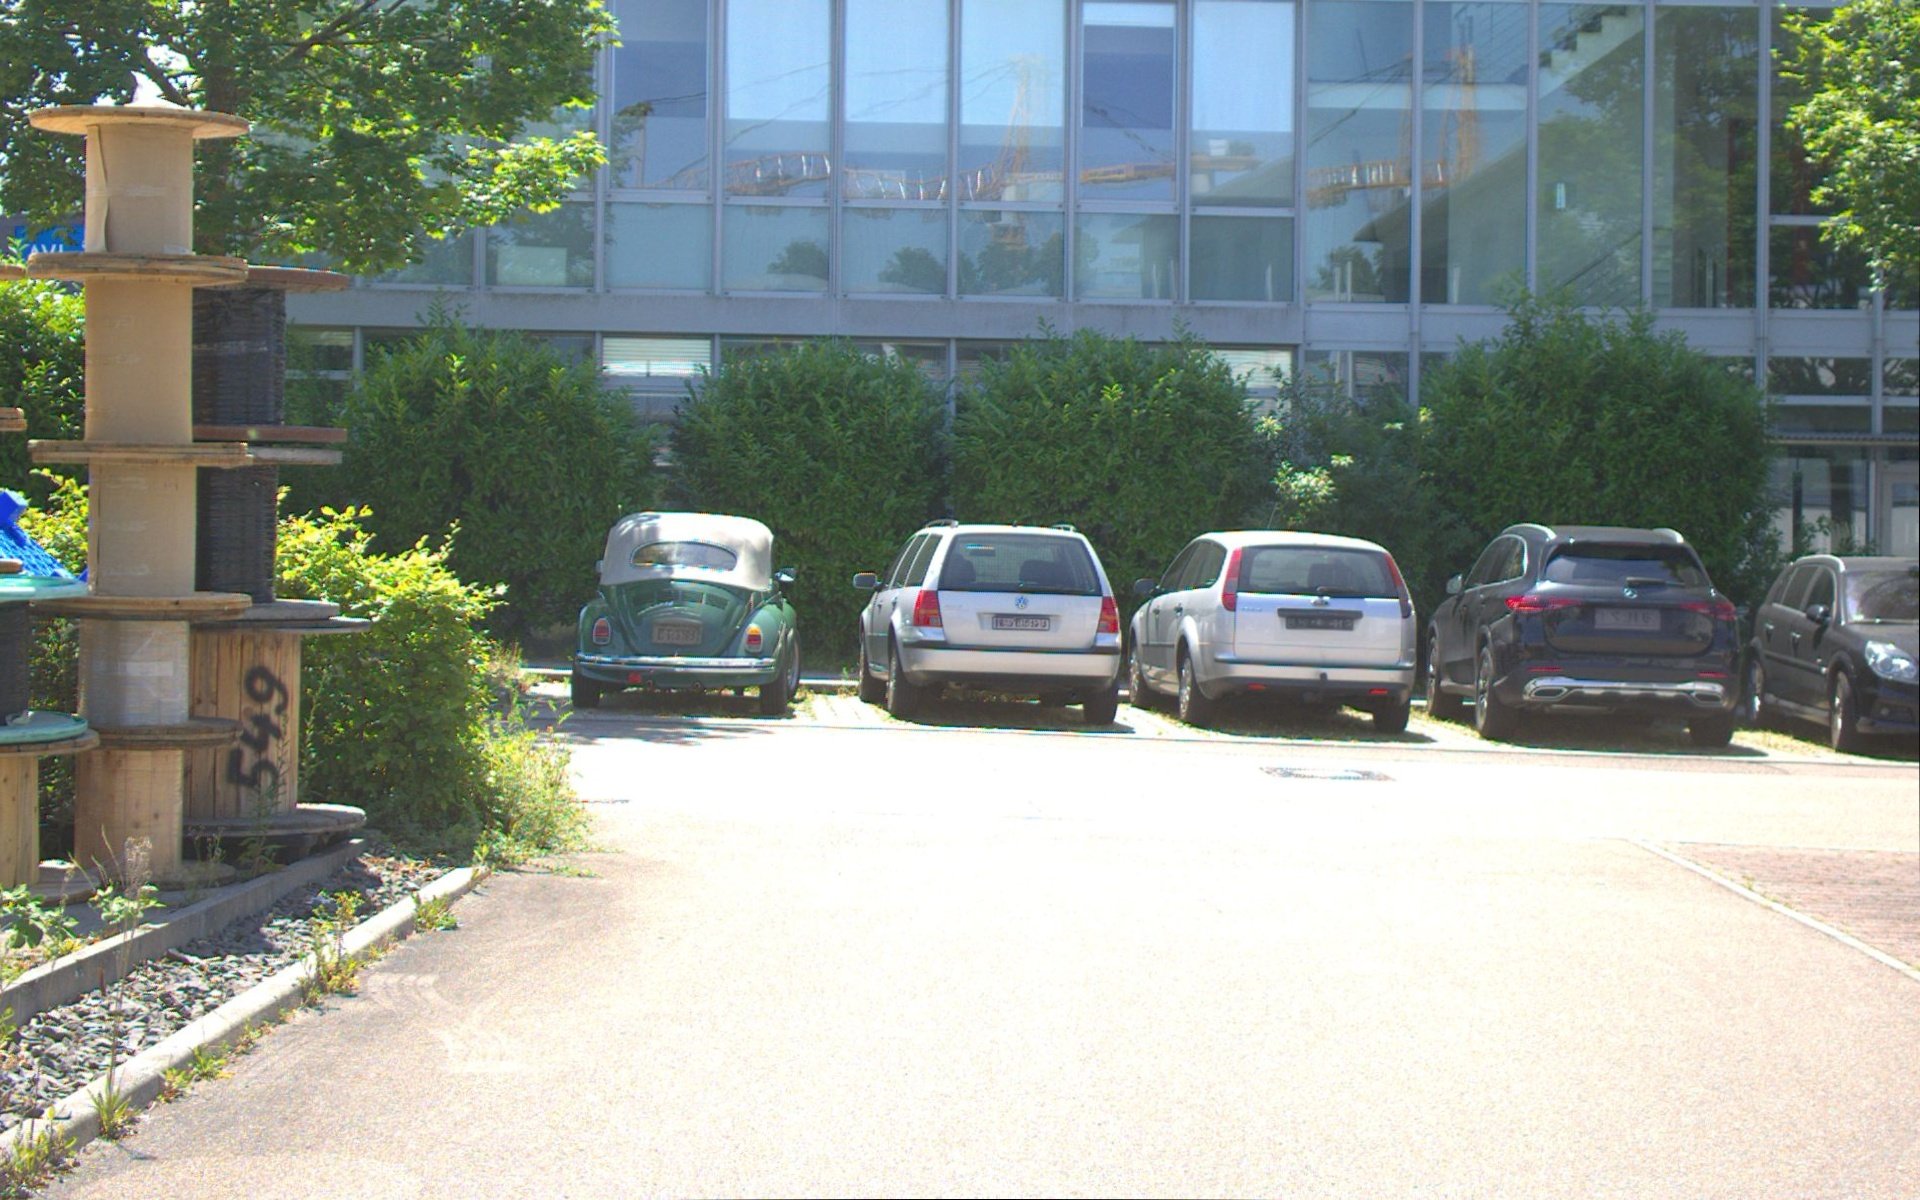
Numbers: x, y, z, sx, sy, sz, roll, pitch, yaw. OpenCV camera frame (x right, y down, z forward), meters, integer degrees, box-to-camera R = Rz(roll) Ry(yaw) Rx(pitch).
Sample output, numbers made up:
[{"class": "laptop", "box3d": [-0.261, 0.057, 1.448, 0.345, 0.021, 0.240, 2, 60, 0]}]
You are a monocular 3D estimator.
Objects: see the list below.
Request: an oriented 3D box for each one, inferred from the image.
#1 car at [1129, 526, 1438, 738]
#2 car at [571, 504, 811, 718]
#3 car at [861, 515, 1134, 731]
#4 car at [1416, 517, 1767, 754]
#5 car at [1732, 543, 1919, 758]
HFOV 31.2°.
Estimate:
[{"class": "car", "box3d": [2.476, 0.197, 27.150, 1.765, 1.444, 3.655, 2, 2, -5]}, {"class": "car", "box3d": [-1.996, 0.028, 26.329, 1.541, 1.444, 3.654, 2, 2, -1]}, {"class": "car", "box3d": [0.221, 0.124, 26.553, 1.731, 1.444, 3.655, 2, 2, -5]}, {"class": "car", "box3d": [4.829, 0.209, 26.852, 1.927, 1.605, 3.987, 2, 2, 0]}, {"class": "car", "box3d": [7.437, 0.348, 26.922, 1.770, 1.477, 4.259, 1, 2, 0]}]
